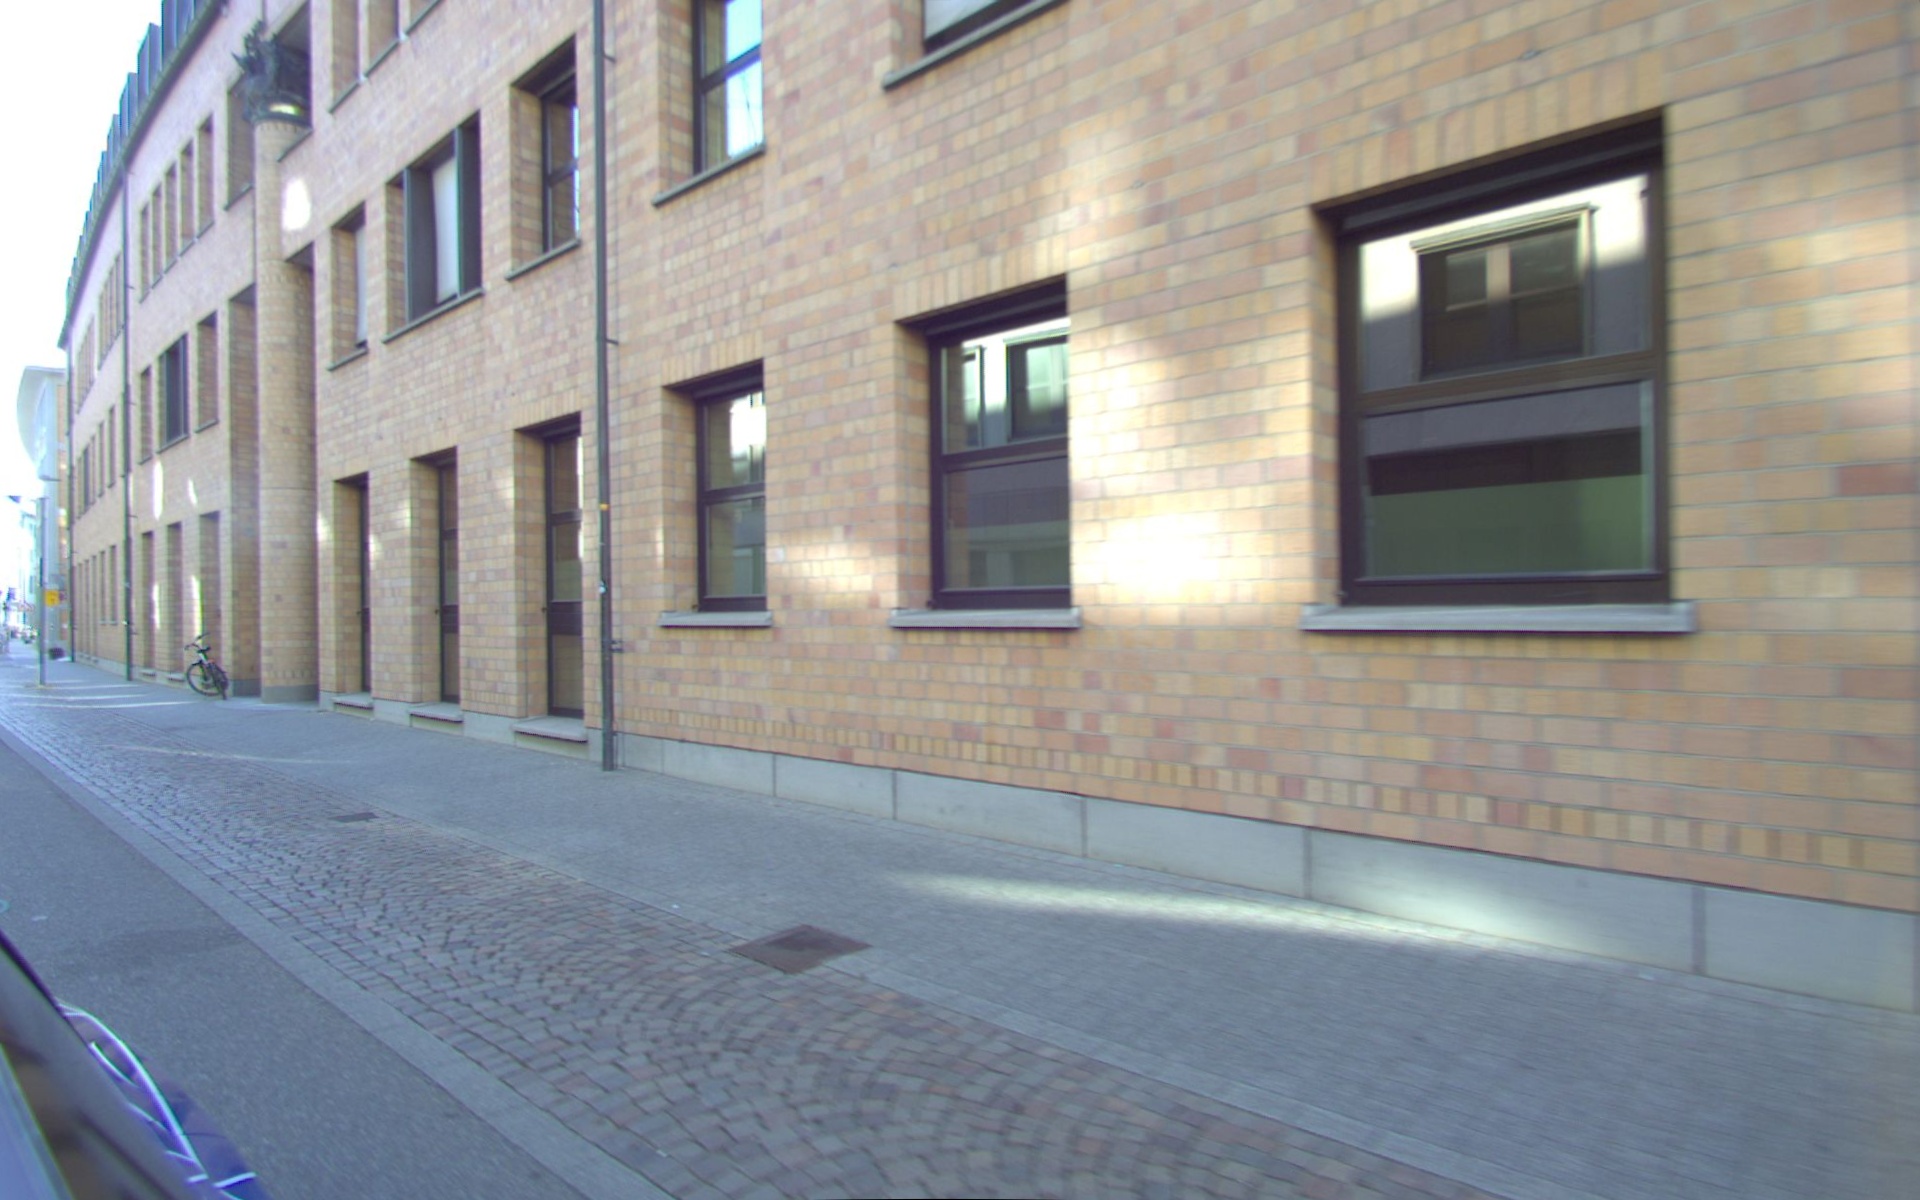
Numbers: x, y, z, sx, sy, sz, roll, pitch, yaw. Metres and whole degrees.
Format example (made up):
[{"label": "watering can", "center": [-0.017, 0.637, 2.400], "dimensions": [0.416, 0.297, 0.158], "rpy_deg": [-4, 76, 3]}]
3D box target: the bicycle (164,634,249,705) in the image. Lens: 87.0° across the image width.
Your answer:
[{"label": "bicycle", "center": [-13.501, 1.232, 18.116], "dimensions": [1.800, 1.171, 0.626], "rpy_deg": [-2, 2, 35]}]
